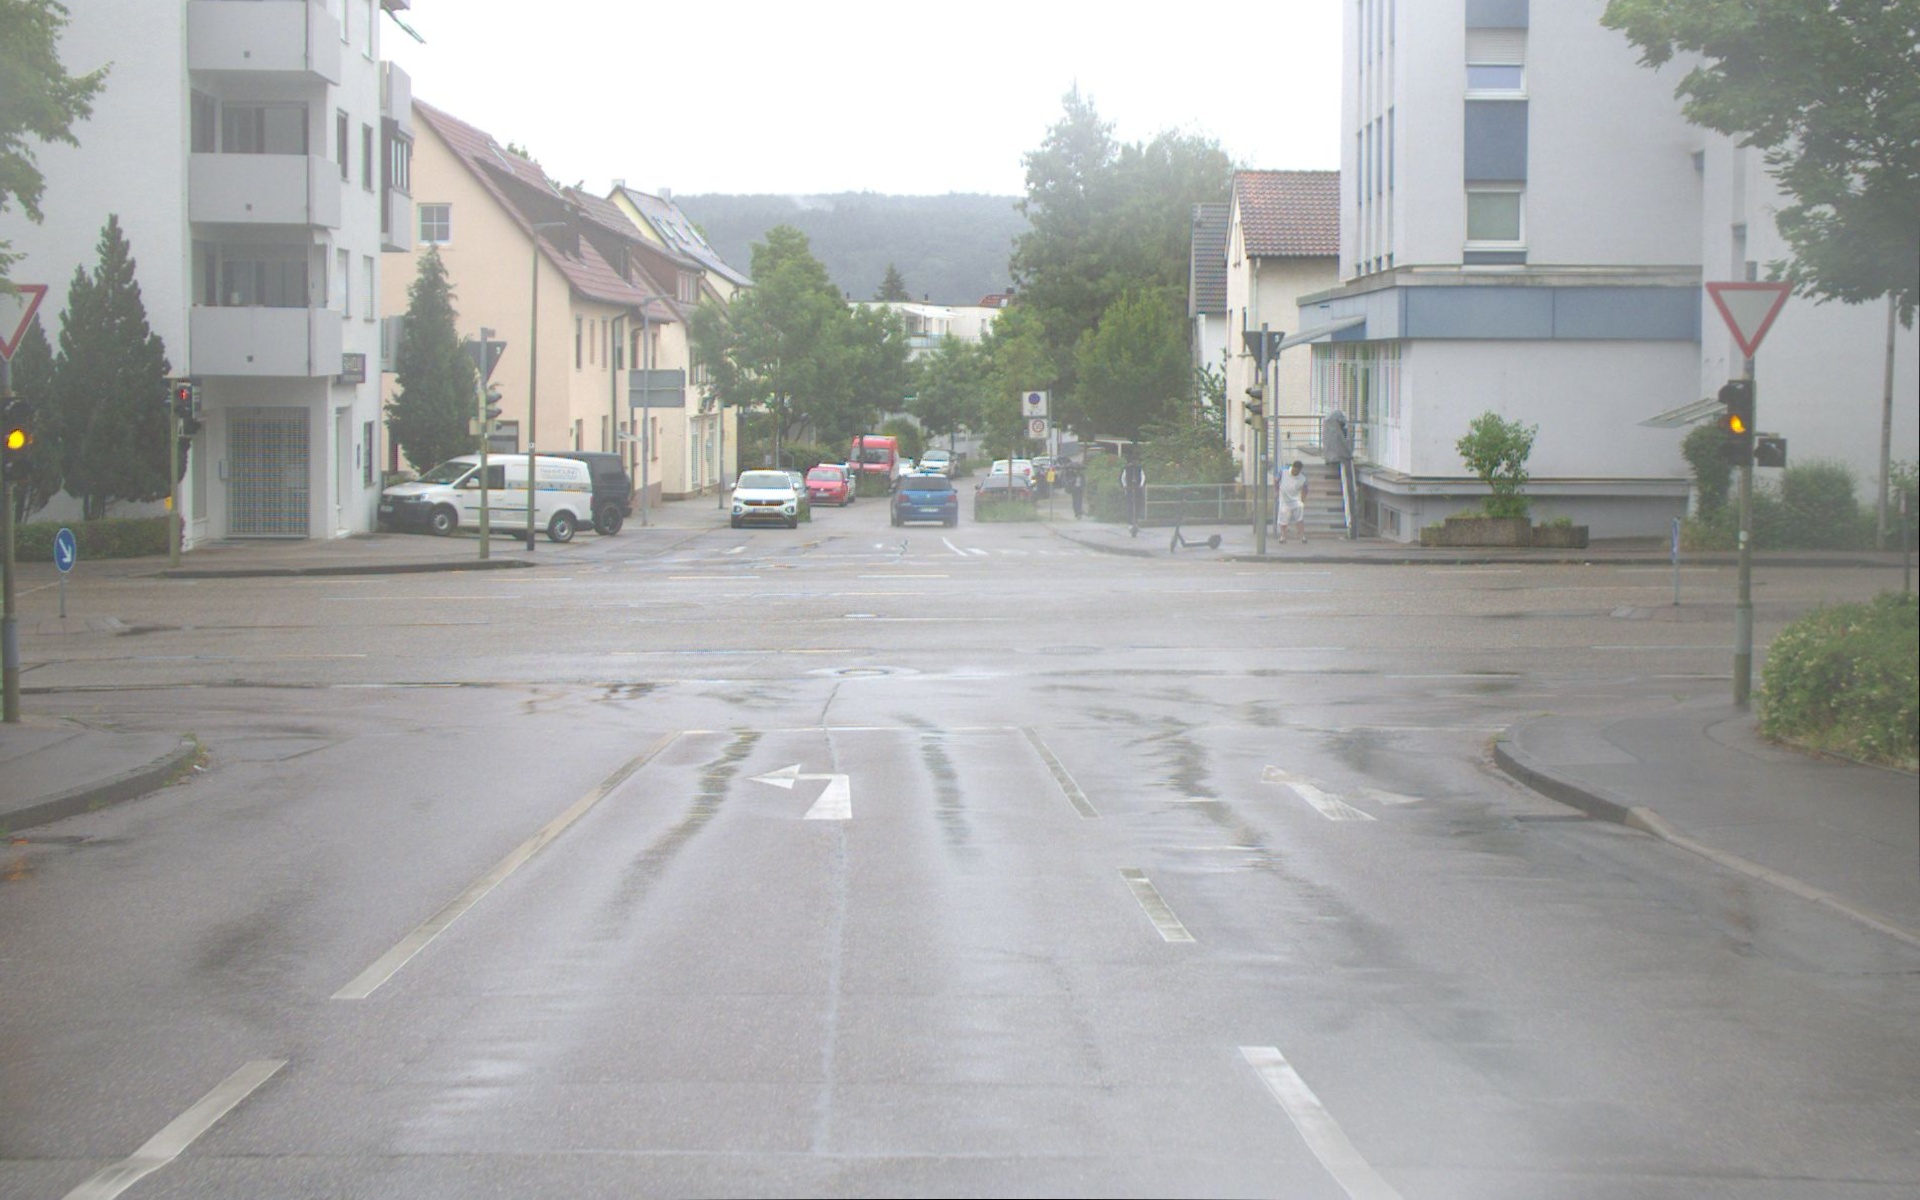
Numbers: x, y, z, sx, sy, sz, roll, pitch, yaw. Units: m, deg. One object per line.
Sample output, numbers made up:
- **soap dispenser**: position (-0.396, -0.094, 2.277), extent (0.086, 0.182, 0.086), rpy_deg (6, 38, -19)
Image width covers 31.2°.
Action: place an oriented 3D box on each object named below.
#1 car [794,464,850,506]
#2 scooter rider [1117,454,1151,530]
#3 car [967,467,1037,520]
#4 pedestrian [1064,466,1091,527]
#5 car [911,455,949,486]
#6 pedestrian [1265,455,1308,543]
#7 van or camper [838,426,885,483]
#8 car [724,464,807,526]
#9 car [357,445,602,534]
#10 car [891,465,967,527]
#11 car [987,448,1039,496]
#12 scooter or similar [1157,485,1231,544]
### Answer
- **car**: position (-5.227, -4.371, 130.502), extent (1.901, 1.553, 4.192), rpy_deg (-1, 2, 0)
- **scooter rider**: position (4.124, -2.558, 81.405), extent (0.752, 1.789, 0.673), rpy_deg (-1, 2, 0)
- **car**: position (1.296, -3.352, 107.736), extent (2.146, 1.583, 4.128), rpy_deg (-1, 2, 0)
- **pedestrian**: position (3.652, -3.217, 106.881), extent (0.746, 1.842, 0.526), rpy_deg (3, 1, 2)
- **car**: position (-1.554, -6.804, 180.706), extent (1.901, 1.553, 4.192), rpy_deg (-1, 2, 0)
- **pedestrian**: position (6.262, -1.937, 65.880), extent (0.647, 1.641, 0.526), rpy_deg (3, 1, -6)
- **van or camper**: position (-4.387, -6.476, 153.181), extent (1.901, 2.504, 4.239), rpy_deg (-1, 2, 0)
- **car**: position (-5.293, -2.881, 94.060), extent (1.993, 1.620, 4.192), rpy_deg (-1, 2, 0)
- **car**: position (-10.289, -2.385, 73.760), extent (4.830, 1.829, 1.999), rpy_deg (-3, 3, -38)
- **car**: position (-0.894, -2.955, 97.202), extent (1.993, 1.678, 4.001), rpy_deg (-1, 2, -2)
- **car**: position (1.998, -4.842, 129.836), extent (1.901, 1.739, 4.192), rpy_deg (-1, 2, 0)
- **scooter or similar**: position (4.401, -1.606, 64.730), extent (1.268, 1.077, 0.877), rpy_deg (-1, 2, -4)
